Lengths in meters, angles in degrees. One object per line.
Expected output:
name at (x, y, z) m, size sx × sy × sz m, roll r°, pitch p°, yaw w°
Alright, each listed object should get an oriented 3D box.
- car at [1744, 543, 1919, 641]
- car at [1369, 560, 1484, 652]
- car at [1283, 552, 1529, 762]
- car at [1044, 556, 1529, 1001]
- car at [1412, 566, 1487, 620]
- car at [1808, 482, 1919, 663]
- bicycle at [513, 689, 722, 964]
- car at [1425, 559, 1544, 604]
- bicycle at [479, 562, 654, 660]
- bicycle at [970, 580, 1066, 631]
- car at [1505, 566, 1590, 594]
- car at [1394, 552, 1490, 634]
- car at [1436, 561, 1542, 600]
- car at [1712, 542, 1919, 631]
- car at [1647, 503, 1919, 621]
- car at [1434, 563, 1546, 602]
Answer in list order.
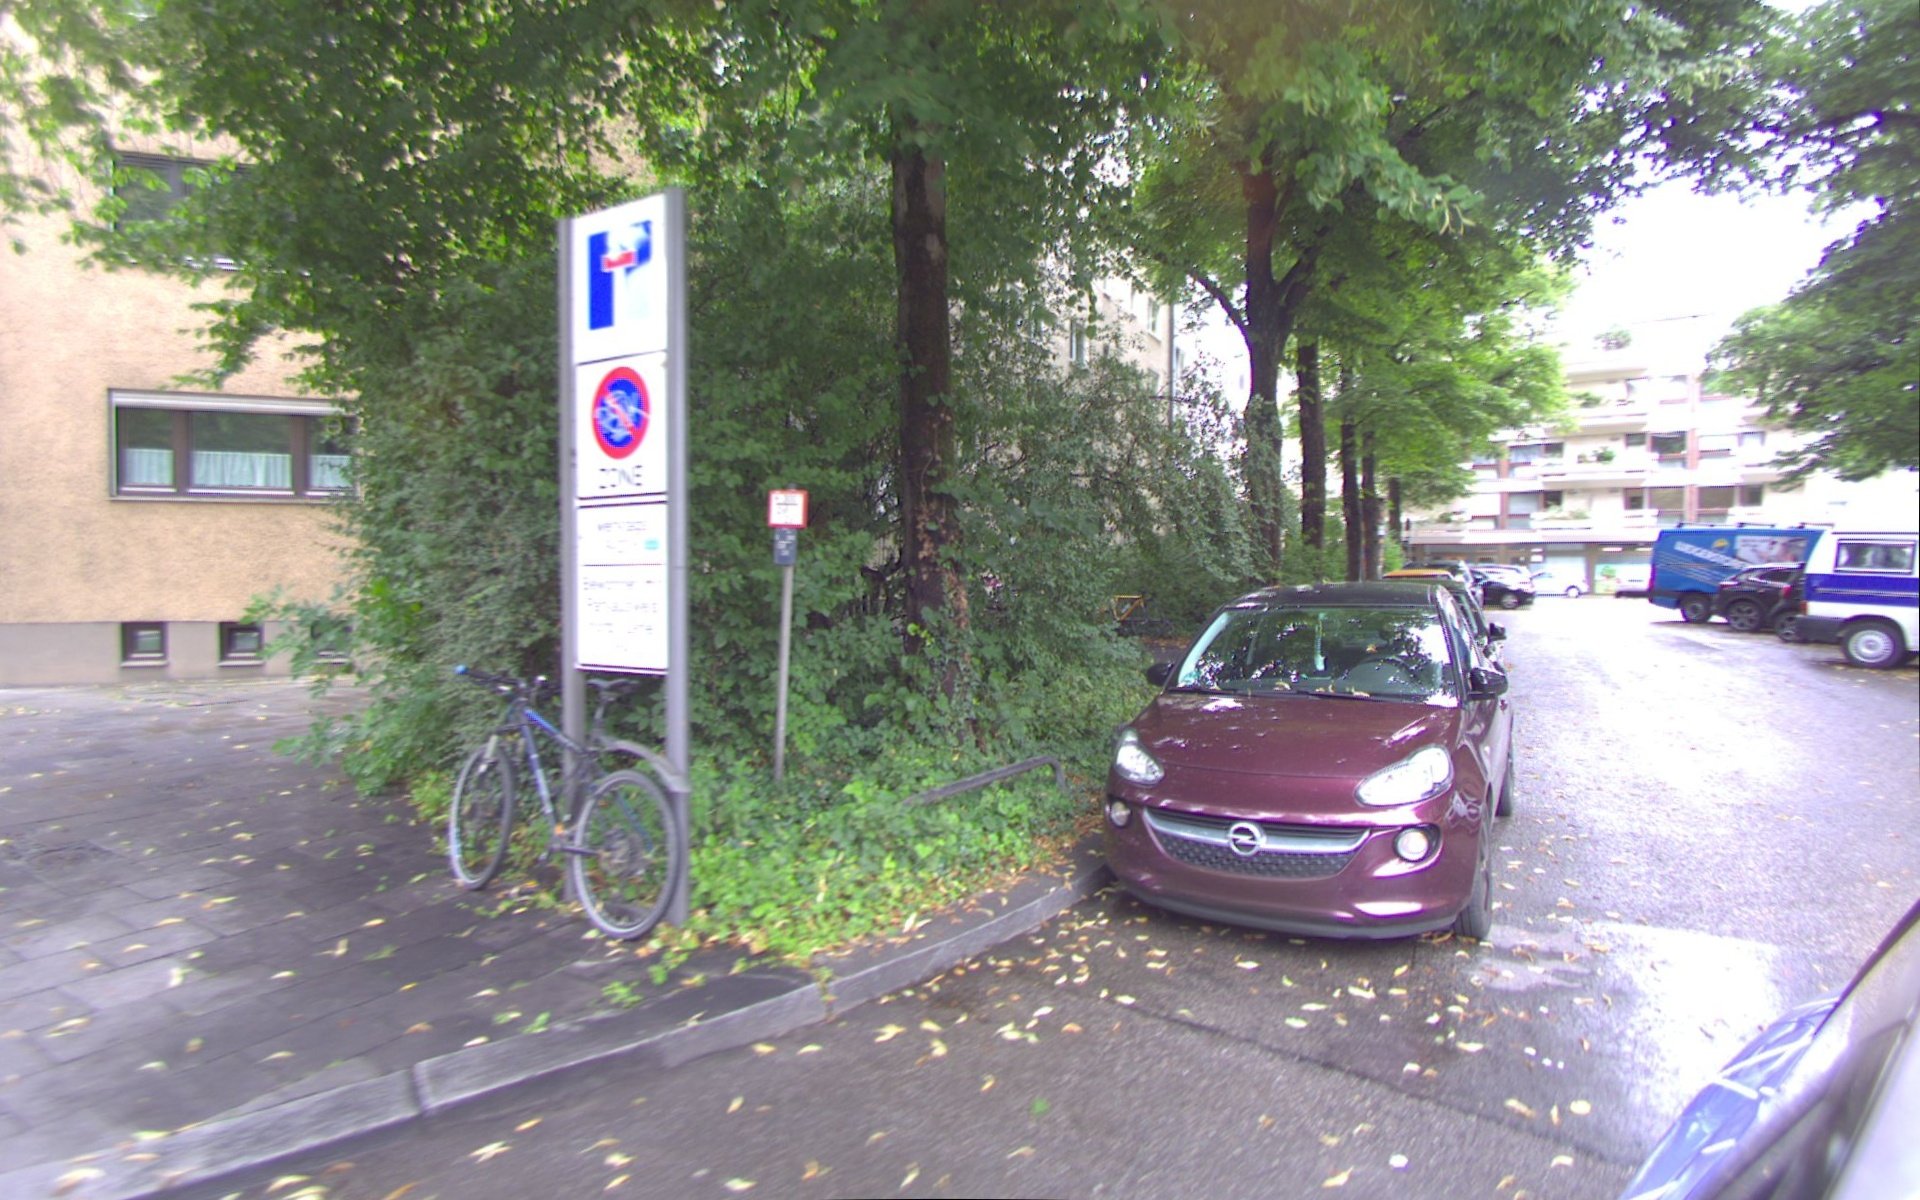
car at (16.487, -0.164, 17.608) m, size 1.864 × 1.623 × 4.117 m, roll -1°, pitch 2°, yaw -24°
car at (8.279, 0.034, 18.037) m, size 1.680 × 1.456 × 3.746 m, roll 0°, pitch 2°, yaw 25°
car at (4.248, 0.352, 9.471) m, size 1.717 × 1.515 × 4.009 m, roll 0°, pitch 2°, yaw 27°
car at (2.031, 0.553, 5.468) m, size 1.720 × 1.515 × 3.668 m, roll 0°, pitch 2°, yaw 31°
car at (13.474, -0.231, 27.749) m, size 1.682 × 1.375 × 3.719 m, roll 0°, pitch 2°, yaw 29°
car at (13.730, -0.360, 12.900) m, size 1.869 × 2.342 × 4.178 m, roll -1°, pitch 2°, yaw -37°
bicycle at (-1.396, 0.851, 4.058) m, size 1.074 × 0.891 × 0.246 m, roll 1°, pitch 1°, yaw 38°
car at (18.414, -0.666, 35.727) m, size 3.653 × 1.496 × 1.839 m, roll 0°, pitch 1°, yaw 26°
bicycle at (-5.390, 0.096, 14.074) m, size 0.697 × 1.232 × 2.410 m, roll 0°, pitch 2°, yaw 27°
bicycle at (1.093, 0.098, 19.133) m, size 1.737 × 0.924 × 0.530 m, roll 0°, pitch 1°, yaw 20°
car at (29.792, -1.045, 51.390) m, size 3.659 × 1.373 × 1.836 m, roll 1°, pitch 2°, yaw 30°
car at (10.618, -0.190, 22.146) m, size 1.682 × 1.618 × 4.067 m, roll 0°, pitch 2°, yaw 29°
car at (20.919, -0.791, 40.189) m, size 3.653 × 1.496 × 1.839 m, roll 0°, pitch 1°, yaw 26°
car at (17.888, -0.294, 20.305) m, size 1.864 × 1.623 × 4.117 m, roll -1°, pitch 2°, yaw -24°
car at (18.977, -0.856, 23.452) m, size 1.938 × 2.441 × 4.698 m, roll -1°, pitch 1°, yaw -27°
car at (19.834, -0.676, 38.039) m, size 3.653 × 1.410 × 1.839 m, roll 0°, pitch 1°, yaw 26°
